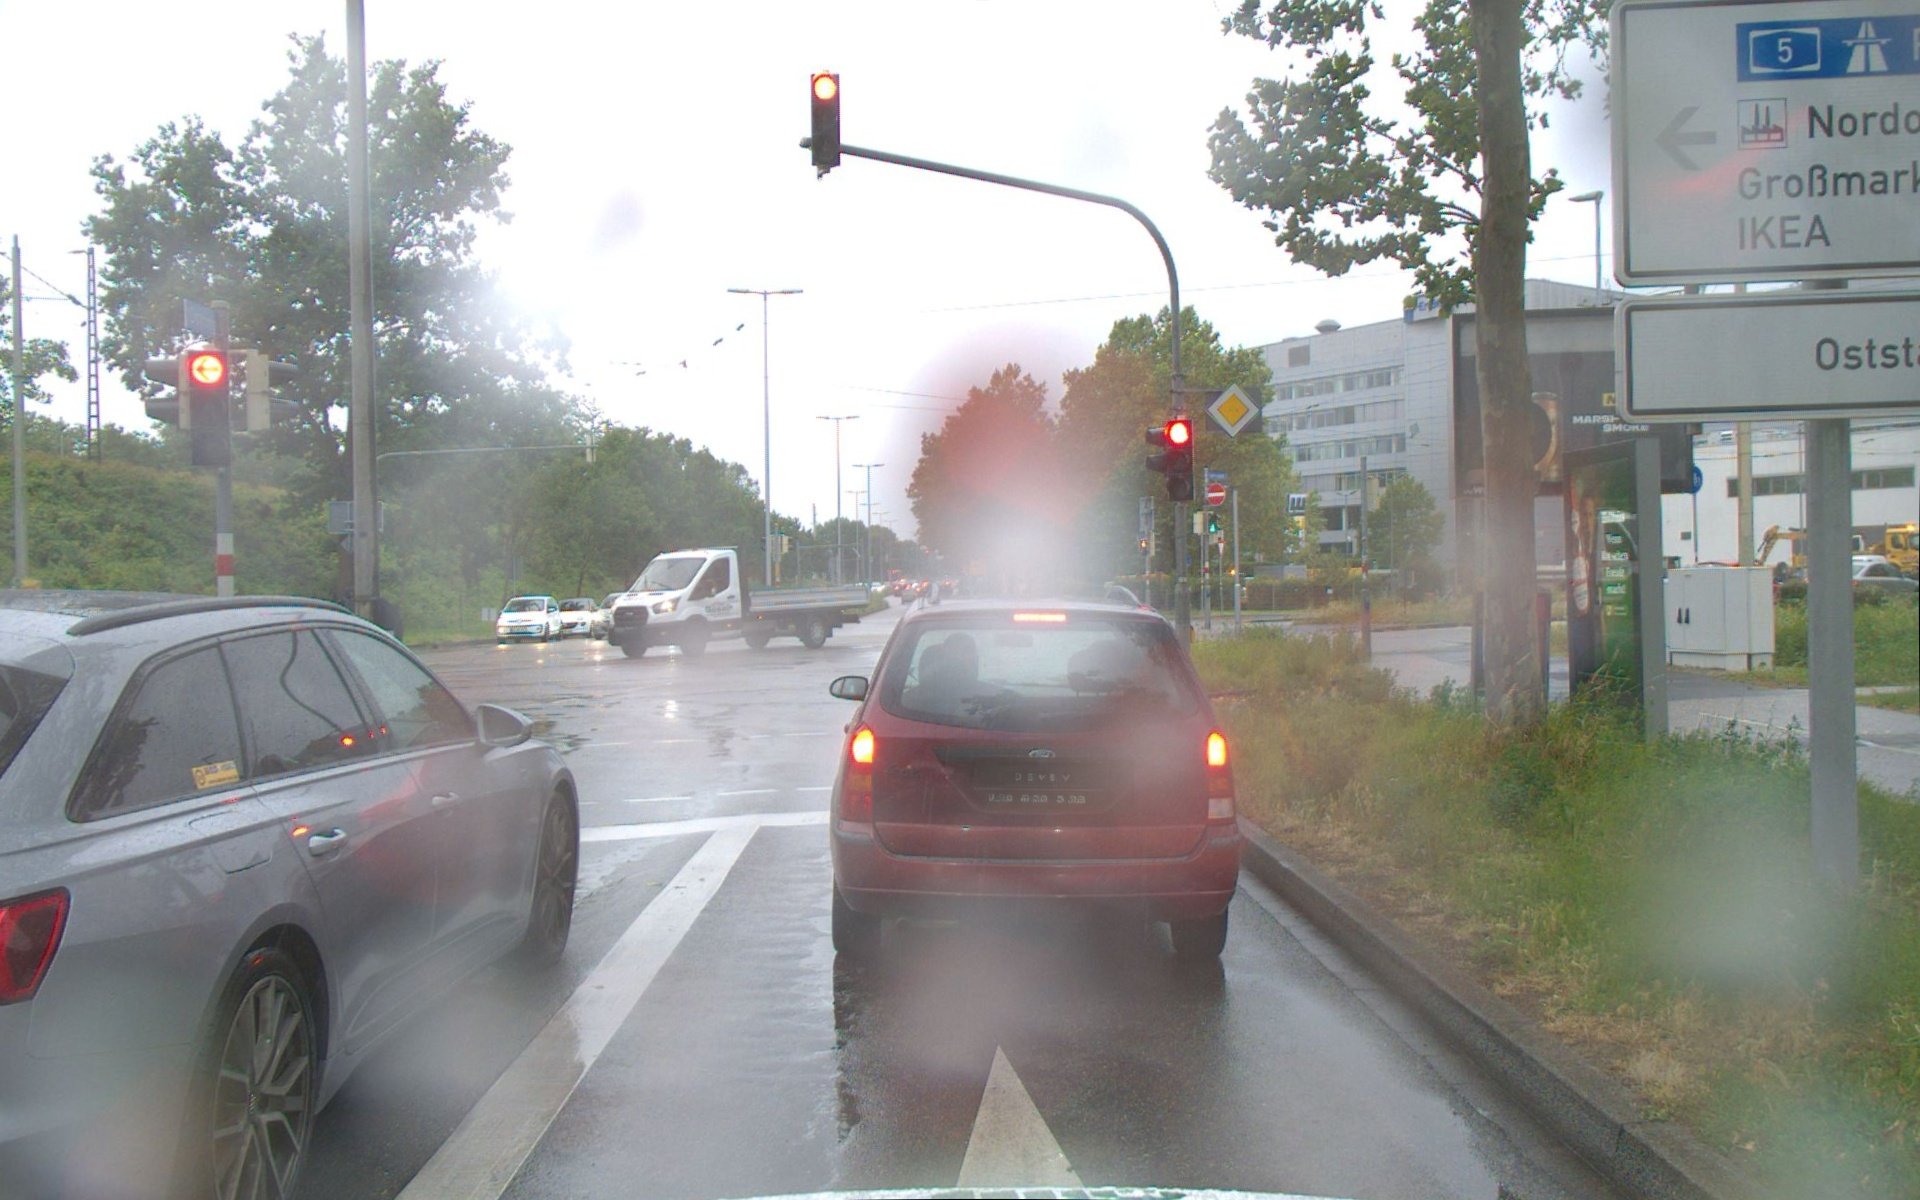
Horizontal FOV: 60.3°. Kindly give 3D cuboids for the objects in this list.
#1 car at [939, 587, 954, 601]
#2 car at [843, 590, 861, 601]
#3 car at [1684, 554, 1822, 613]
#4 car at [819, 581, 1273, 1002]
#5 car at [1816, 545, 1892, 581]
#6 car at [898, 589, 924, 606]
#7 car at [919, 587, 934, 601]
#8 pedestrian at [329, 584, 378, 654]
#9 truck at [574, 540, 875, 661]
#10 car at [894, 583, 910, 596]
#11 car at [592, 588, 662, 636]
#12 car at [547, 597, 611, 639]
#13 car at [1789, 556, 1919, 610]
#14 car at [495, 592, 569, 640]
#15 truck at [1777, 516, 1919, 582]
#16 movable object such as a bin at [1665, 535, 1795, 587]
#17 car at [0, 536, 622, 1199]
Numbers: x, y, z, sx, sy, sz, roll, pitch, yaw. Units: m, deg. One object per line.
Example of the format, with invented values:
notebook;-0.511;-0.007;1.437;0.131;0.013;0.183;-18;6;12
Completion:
car;-1.481;-0.646;183.724;1.636;1.554;3.846;-1;0;1
car;-14.957;-0.648;229.067;2.050;1.554;4.193;-1;0;2
car;21.332;-0.441;44.457;3.769;1.517;1.659;0;0;-33
car;0.257;0.674;7.798;1.609;1.490;3.731;1;0;-2
car;45.365;-1.849;83.920;4.193;1.756;1.721;0;0;-35
car;-4.516;-0.242;153.038;2.103;1.554;4.193;-1;0;1
car;-3.955;-0.721;194.044;1.663;1.554;3.846;-1;0;0
pedestrian;-16.654;0.511;45.434;1.083;1.879;1.127;-1;0;-13
truck;-5.013;-0.032;36.467;2.434;2.406;6.839;-1;0;37
car;-7.077;-1.322;202.090;1.663;1.554;3.846;-1;0;1
car;-11.231;0.373;55.974;1.605;1.499;3.964;-2;1;-1
car;-14.068;0.639;61.211;1.558;1.428;3.822;-2;1;-2
car;26.938;-0.509;49.378;4.774;1.517;1.904;-1;0;-35
car;-14.166;0.497;54.884;1.605;1.478;3.785;-2;1;-3
truck;52.796;-2.942;97.366;3.292;3.568;7.789;-2;0;-36
movable object such as a bin;48.342;-2.414;103.978;3.292;3.048;6.634;-2;0;-36
car;-2.297;0.668;4.858;1.733;1.601;4.819;1;0;-2
